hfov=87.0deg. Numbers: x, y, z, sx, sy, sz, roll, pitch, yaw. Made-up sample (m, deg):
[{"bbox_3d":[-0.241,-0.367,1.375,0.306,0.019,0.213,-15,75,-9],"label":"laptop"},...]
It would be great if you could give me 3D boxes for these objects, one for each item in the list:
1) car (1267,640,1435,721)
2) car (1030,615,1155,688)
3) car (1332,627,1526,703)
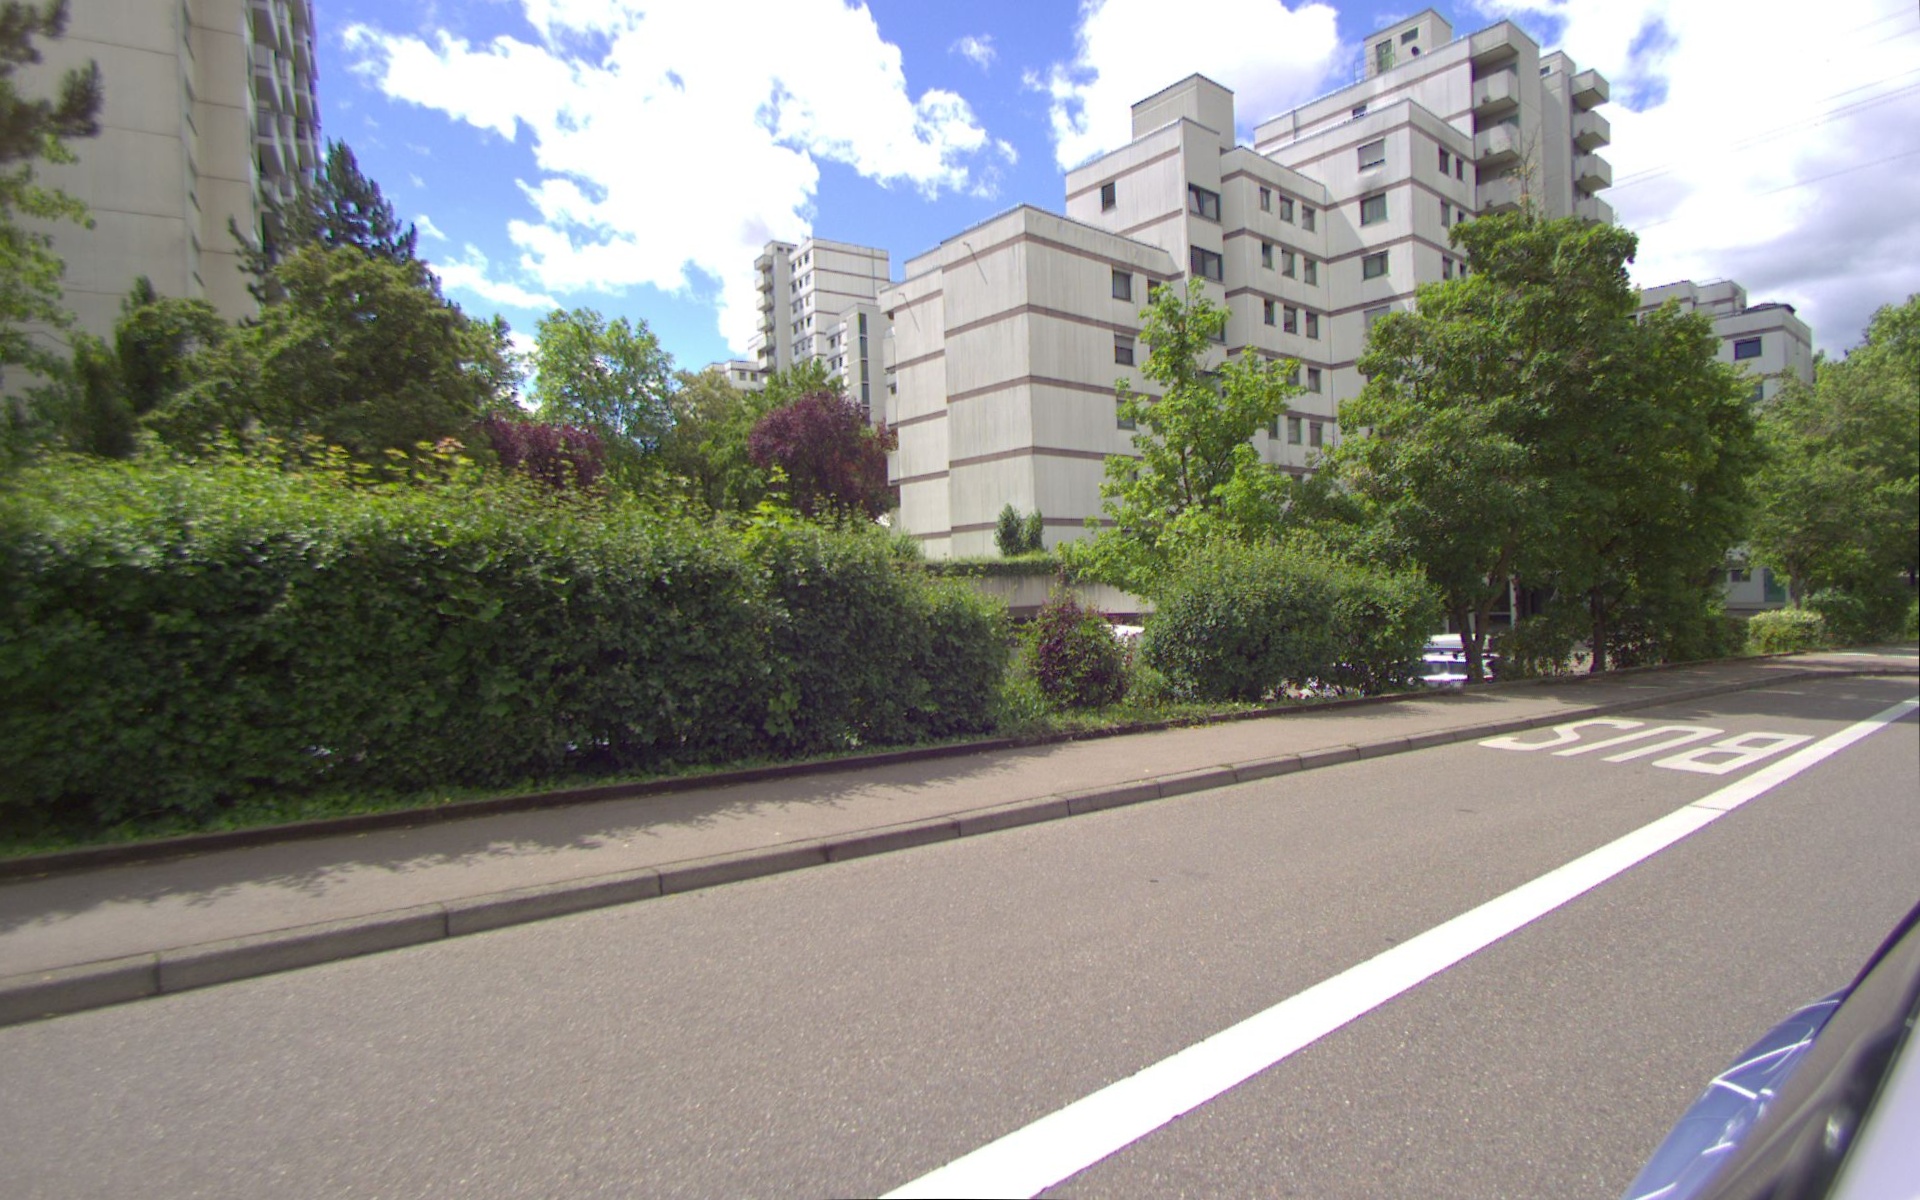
[{"bbox_3d":[8.466,1.690,22.059,1.692,1.489,2.964,0,0,-38],"label":"car"},{"bbox_3d":[4.128,1.548,32.075,1.757,1.915,4.002,-3,3,-33],"label":"car"},{"bbox_3d":[10.726,1.427,23.365,1.536,1.450,3.762,-2,1,-38],"label":"car"}]
